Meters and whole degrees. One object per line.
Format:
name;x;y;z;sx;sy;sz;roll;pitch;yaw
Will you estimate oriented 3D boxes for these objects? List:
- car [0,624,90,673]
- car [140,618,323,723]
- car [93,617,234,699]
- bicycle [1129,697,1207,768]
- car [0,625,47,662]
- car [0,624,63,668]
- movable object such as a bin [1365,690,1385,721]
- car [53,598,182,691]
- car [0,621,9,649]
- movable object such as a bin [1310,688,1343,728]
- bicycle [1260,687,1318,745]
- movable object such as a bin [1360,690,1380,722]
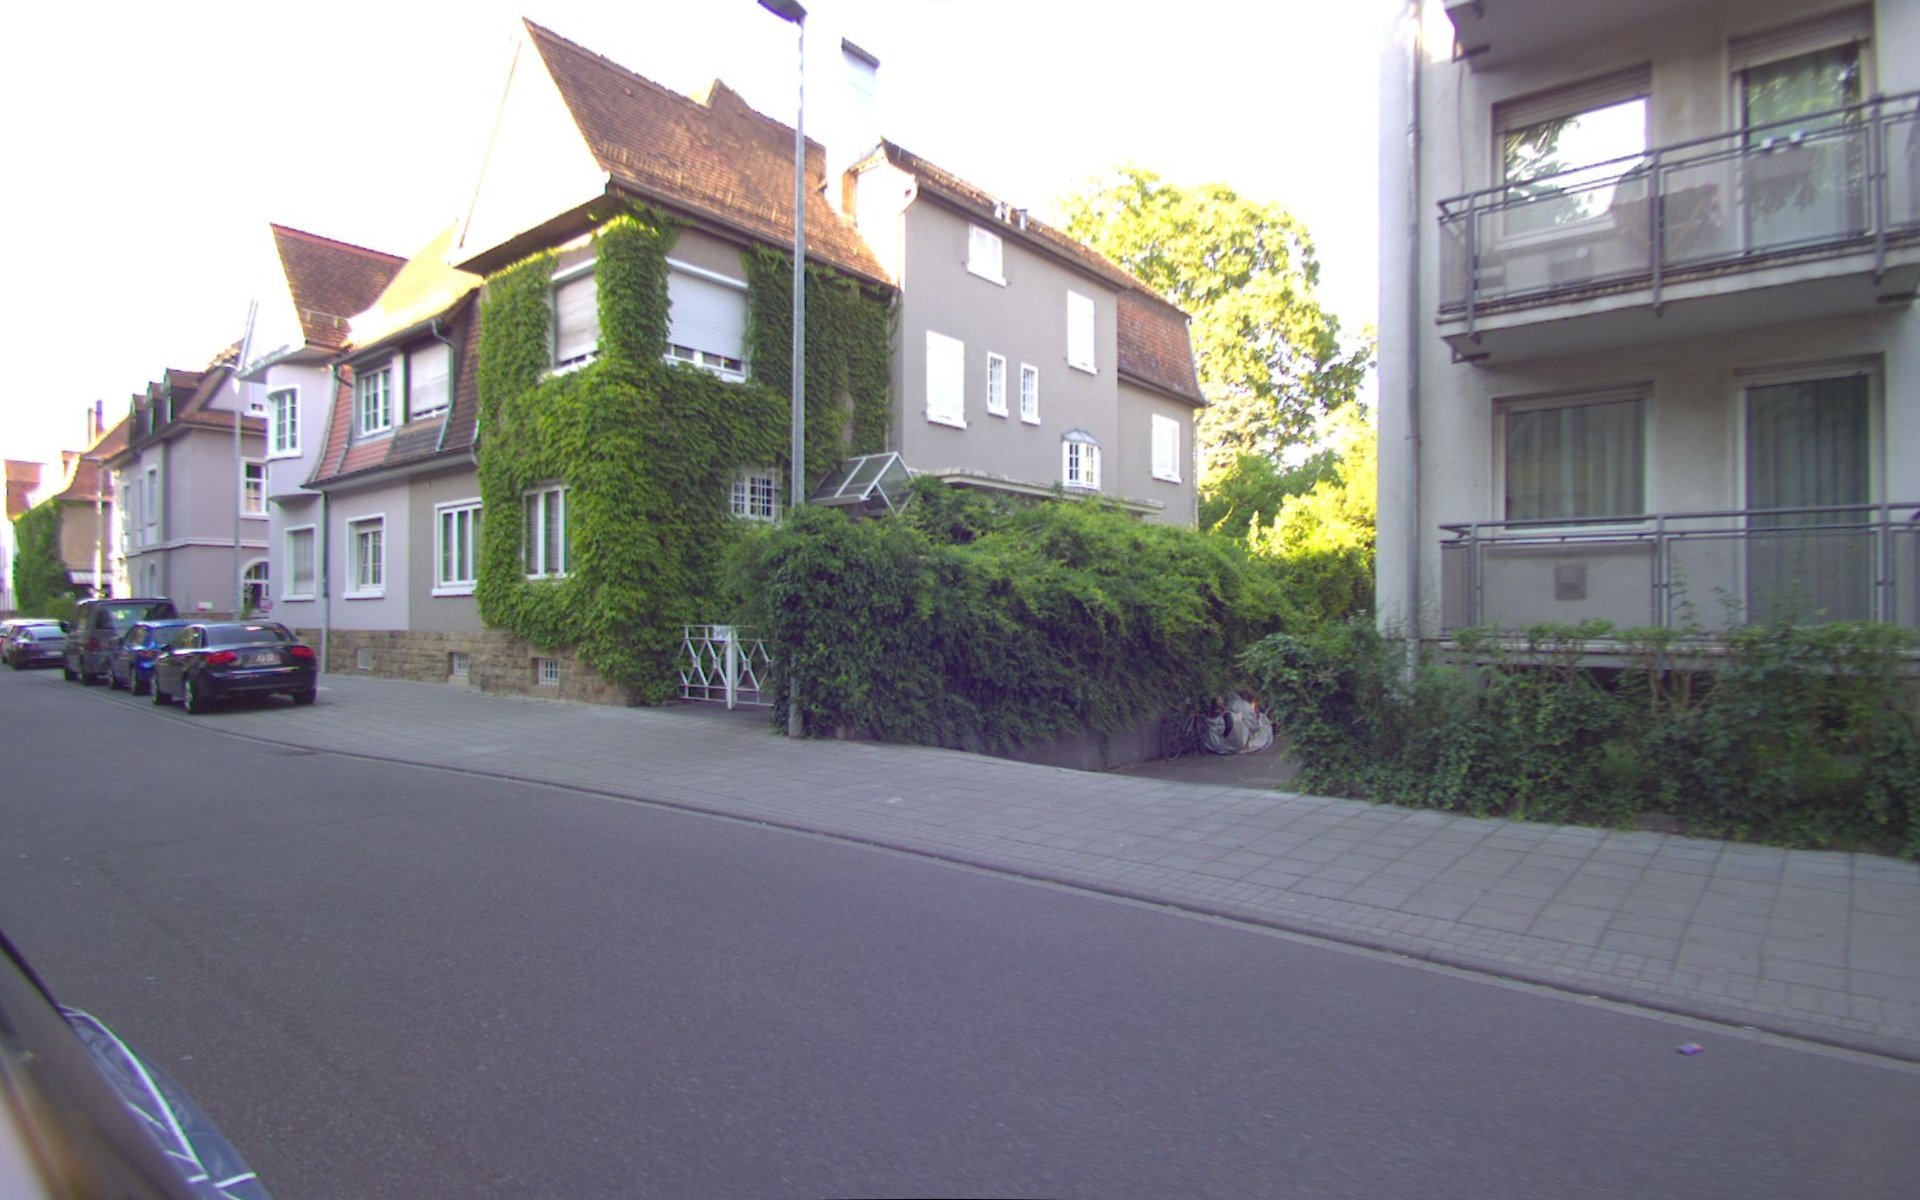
car;-29.028;1.491;32.017;4.333;1.381;1.697;-1;0;42
car;-12.361;1.083;17.068;4.024;1.439;1.728;-1;2;43
car;-16.778;1.139;21.256;4.023;1.475;1.590;-1;2;42
bicycle;3.727;2.330;18.027;0.514;1.027;1.913;0;0;40
car;-38.977;1.761;41.604;3.944;1.381;1.697;-1;0;42
car;-32.903;1.585;35.610;3.944;1.381;1.521;-1;0;42
movable object such as a bin;10.690;2.710;26.050;0.367;0.764;0.359;-1;-4;42
car;-20.330;0.995;24.367;4.310;1.987;1.697;-1;2;42
car;-51.848;1.877;53.744;3.944;1.481;1.622;-1;0;42
movable object such as a bin;8.639;2.526;23.843;0.576;0.886;0.488;0;-3;42
bicycle;6.993;2.426;21.463;0.514;1.027;1.913;0;0;40
movable object such as a bin;10.430;2.695;25.760;0.367;0.764;0.359;-1;-4;42
